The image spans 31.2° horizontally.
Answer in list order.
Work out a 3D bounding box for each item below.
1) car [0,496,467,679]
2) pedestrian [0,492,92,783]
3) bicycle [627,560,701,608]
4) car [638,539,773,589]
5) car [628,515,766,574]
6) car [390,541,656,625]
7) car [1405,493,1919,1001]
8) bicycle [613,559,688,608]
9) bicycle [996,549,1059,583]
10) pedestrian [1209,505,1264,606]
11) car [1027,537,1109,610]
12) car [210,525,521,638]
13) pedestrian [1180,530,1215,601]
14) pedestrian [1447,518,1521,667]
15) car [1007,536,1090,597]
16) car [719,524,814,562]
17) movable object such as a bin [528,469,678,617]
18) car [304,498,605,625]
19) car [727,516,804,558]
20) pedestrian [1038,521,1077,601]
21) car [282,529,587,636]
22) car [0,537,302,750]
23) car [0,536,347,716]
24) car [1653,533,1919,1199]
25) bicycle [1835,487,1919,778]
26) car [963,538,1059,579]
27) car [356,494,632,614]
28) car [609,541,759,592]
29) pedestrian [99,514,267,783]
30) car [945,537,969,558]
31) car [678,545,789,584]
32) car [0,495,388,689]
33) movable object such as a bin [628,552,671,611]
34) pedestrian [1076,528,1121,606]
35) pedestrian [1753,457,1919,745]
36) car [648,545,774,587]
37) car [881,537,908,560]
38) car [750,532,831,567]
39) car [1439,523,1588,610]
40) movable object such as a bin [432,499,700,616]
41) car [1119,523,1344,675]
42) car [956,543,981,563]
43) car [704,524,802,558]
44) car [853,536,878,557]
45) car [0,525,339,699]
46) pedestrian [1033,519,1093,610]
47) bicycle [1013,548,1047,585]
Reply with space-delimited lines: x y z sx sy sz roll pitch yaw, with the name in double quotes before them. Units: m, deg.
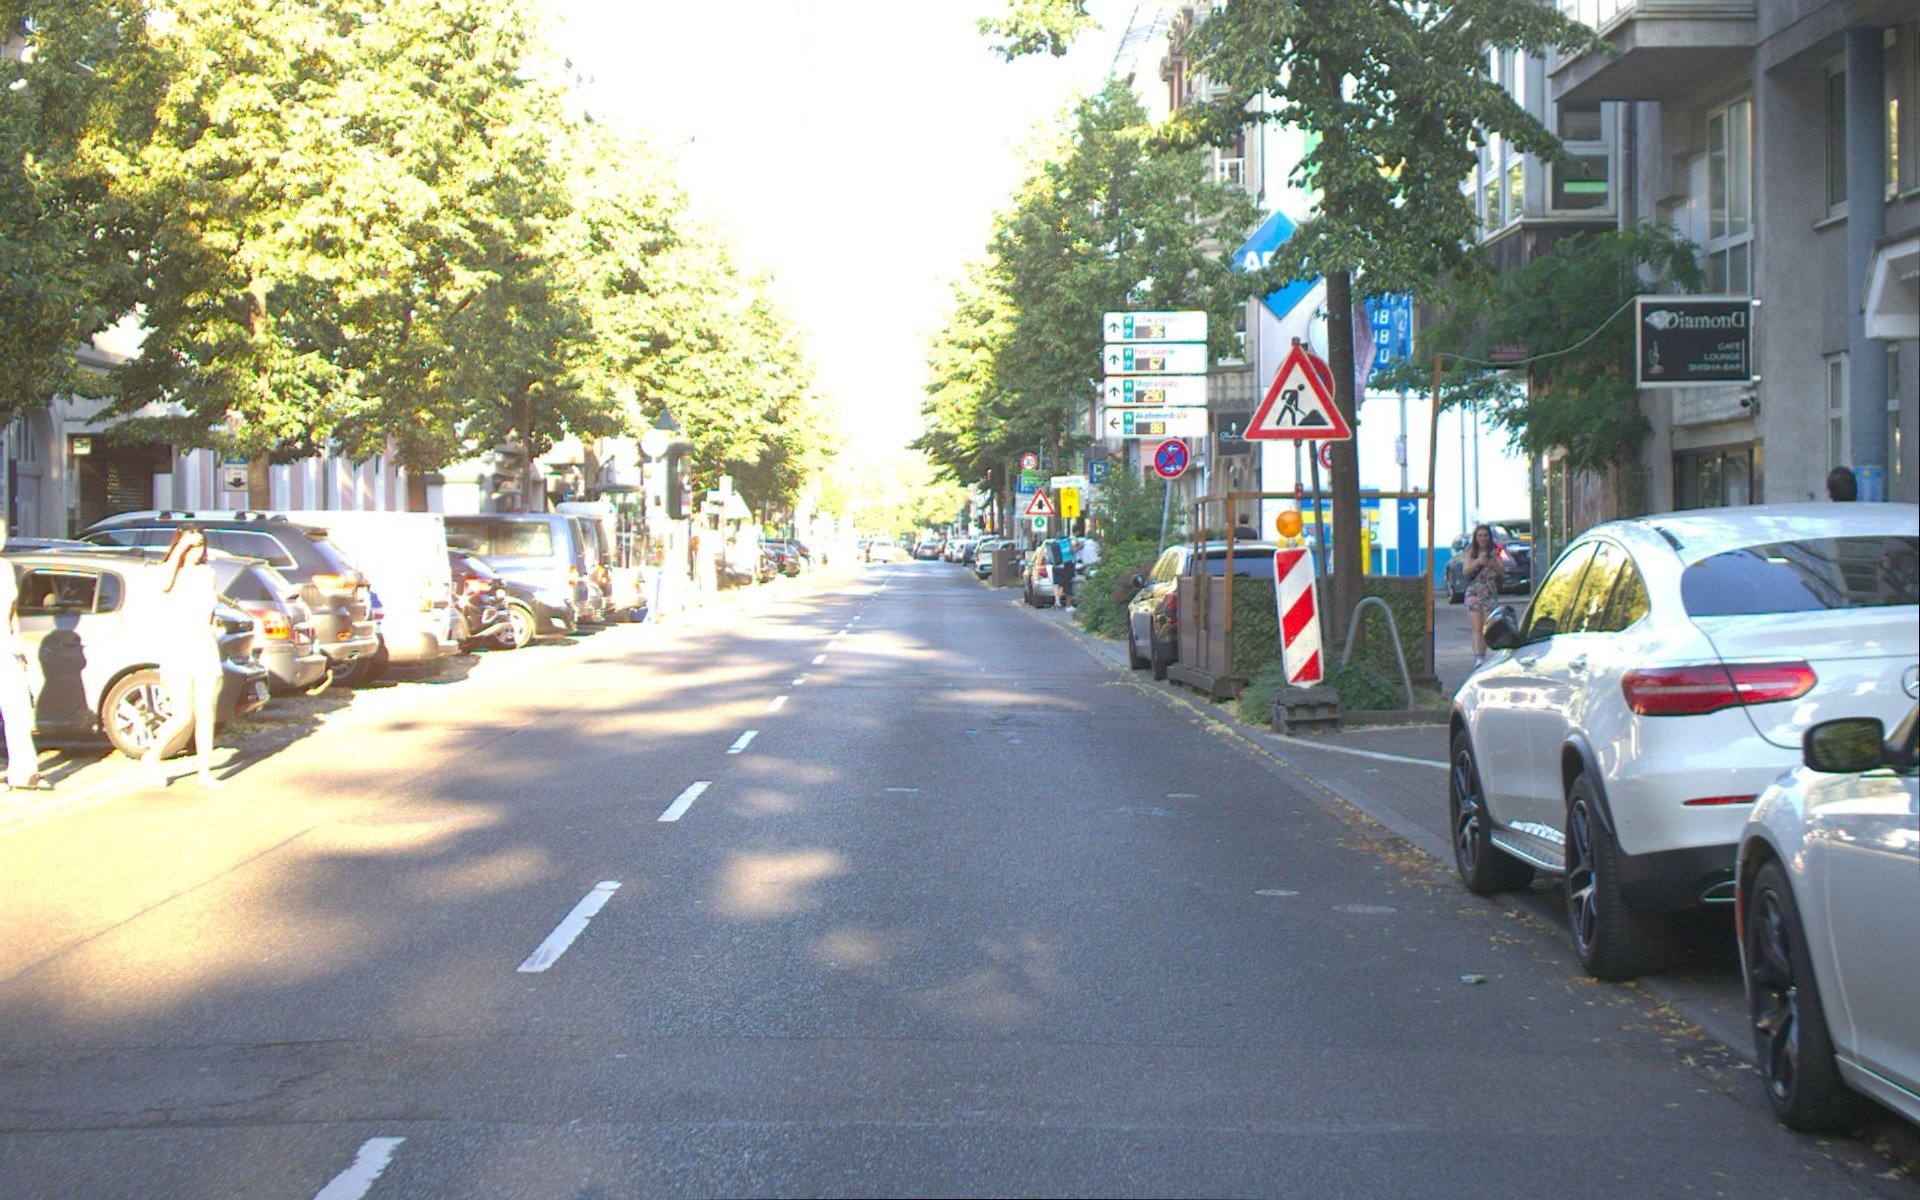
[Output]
"car" -7.926 -0.153 37.301 4.870 1.901 1.974 0 1 0
"pedestrian" -5.936 0.231 21.195 0.921 1.753 0.762 -2 1 0
"bicycle" -7.082 -0.386 82.313 1.683 1.075 0.444 2 0 7
"car" -8.890 -1.274 120.352 4.571 1.692 2.060 1 1 0
"car" -8.982 -1.885 117.634 4.571 1.955 1.991 1 1 -1
"car" -7.993 -0.330 63.190 4.594 1.465 1.892 1 1 2
"car" 3.003 0.405 13.273 1.879 1.568 4.692 -3 1 0
"bicycle" -7.299 -0.392 81.140 1.682 1.075 0.444 2 0 -1
"bicycle" 2.173 -1.102 111.423 1.958 1.070 0.704 1 1 31
"pedestrian" 5.192 -0.847 64.660 0.822 1.847 1.097 -3 1 -2
"car" 2.485 -0.646 79.758 1.687 1.569 4.013 -3 1 0
"car" -8.183 -0.266 47.566 3.923 1.496 1.905 1 1 2
"pedestrian" 5.322 -0.774 77.110 0.658 1.557 0.701 -3 1 0
"pedestrian" 5.444 -0.080 35.746 0.610 1.520 0.773 -1 1 0
"car" 2.141 -0.841 84.078 1.785 1.371 4.524 -3 1 -1
"car" -9.329 -2.741 165.813 4.442 1.753 1.919 1 1 0
"movable object such as a bin" -7.342 -1.182 71.317 2.625 2.959 5.304 0 1 -1
"car" -8.011 -0.620 54.750 4.483 1.969 2.068 0 1 0
"car" -11.506 -3.732 203.252 4.442 2.426 1.919 0 1 0
"pedestrian" 2.169 -0.871 76.536 0.677 1.748 0.825 -1 1 -11
"car" -7.689 -0.274 50.608 4.325 1.496 1.842 1 1 -5
"car" -6.874 0.291 24.584 4.058 1.456 1.686 0 1 -3
"car" -7.447 0.202 29.472 4.037 1.478 1.963 0 1 -1
"car" 3.005 0.583 7.428 1.842 1.475 5.190 -3 1 -1
"bicycle" 4.515 0.121 15.103 0.775 1.258 2.050 -3 1 0
"car" 2.016 -1.648 136.065 1.674 1.583 3.814 1 1 42
"car" -7.919 -0.790 58.731 4.483 1.969 1.966 1 1 -2
"car" -8.598 -1.041 107.367 4.546 1.536 1.811 1 1 -1
"pedestrian" -4.822 0.290 21.379 0.827 1.632 0.828 -1 1 0
"car" -0.241 -3.899 256.524 1.752 1.535 3.303 0 0 1
"car" -9.318 -1.454 141.924 4.442 1.562 1.919 1 1 0
"car" -8.090 -0.094 34.308 4.428 1.863 1.894 0 1 0
"movable object such as a bin" -5.886 -0.359 65.218 0.690 1.101 0.883 -1 1 1
"pedestrian" 3.074 -0.737 76.269 0.651 1.694 0.667 -4 1 -44
"pedestrian" 5.666 -0.002 22.031 0.855 1.788 0.997 -1 1 -4
"car" -9.047 -1.241 125.349 4.442 1.501 1.845 1 0 0
"car" -4.471 -3.518 236.405 1.752 1.535 3.303 0 0 1
"car" -9.493 -2.818 193.301 4.442 1.953 1.919 0 1 0
"car" 9.676 -0.563 60.443 1.734 1.426 4.908 -1 0 -1
"movable object such as a bin" -8.633 -0.948 75.754 2.312 2.486 5.740 1 1 43
"car" 2.899 -0.054 37.728 1.828 1.483 4.850 -2 1 -2
"car" 0.556 -2.948 215.744 1.513 1.271 3.303 0 0 1
"car" -9.582 -2.740 159.311 4.442 1.518 1.919 1 1 0
"car" -7.044 -3.965 256.412 1.752 1.535 3.303 0 0 1
"car" -7.991 0.092 31.934 4.037 1.550 1.964 0 1 2
"pedestrian" 2.103 -0.727 70.501 1.013 1.819 0.780 -3 1 -10
"bicycle" 2.302 -1.105 112.885 0.598 1.174 1.844 0 1 19
